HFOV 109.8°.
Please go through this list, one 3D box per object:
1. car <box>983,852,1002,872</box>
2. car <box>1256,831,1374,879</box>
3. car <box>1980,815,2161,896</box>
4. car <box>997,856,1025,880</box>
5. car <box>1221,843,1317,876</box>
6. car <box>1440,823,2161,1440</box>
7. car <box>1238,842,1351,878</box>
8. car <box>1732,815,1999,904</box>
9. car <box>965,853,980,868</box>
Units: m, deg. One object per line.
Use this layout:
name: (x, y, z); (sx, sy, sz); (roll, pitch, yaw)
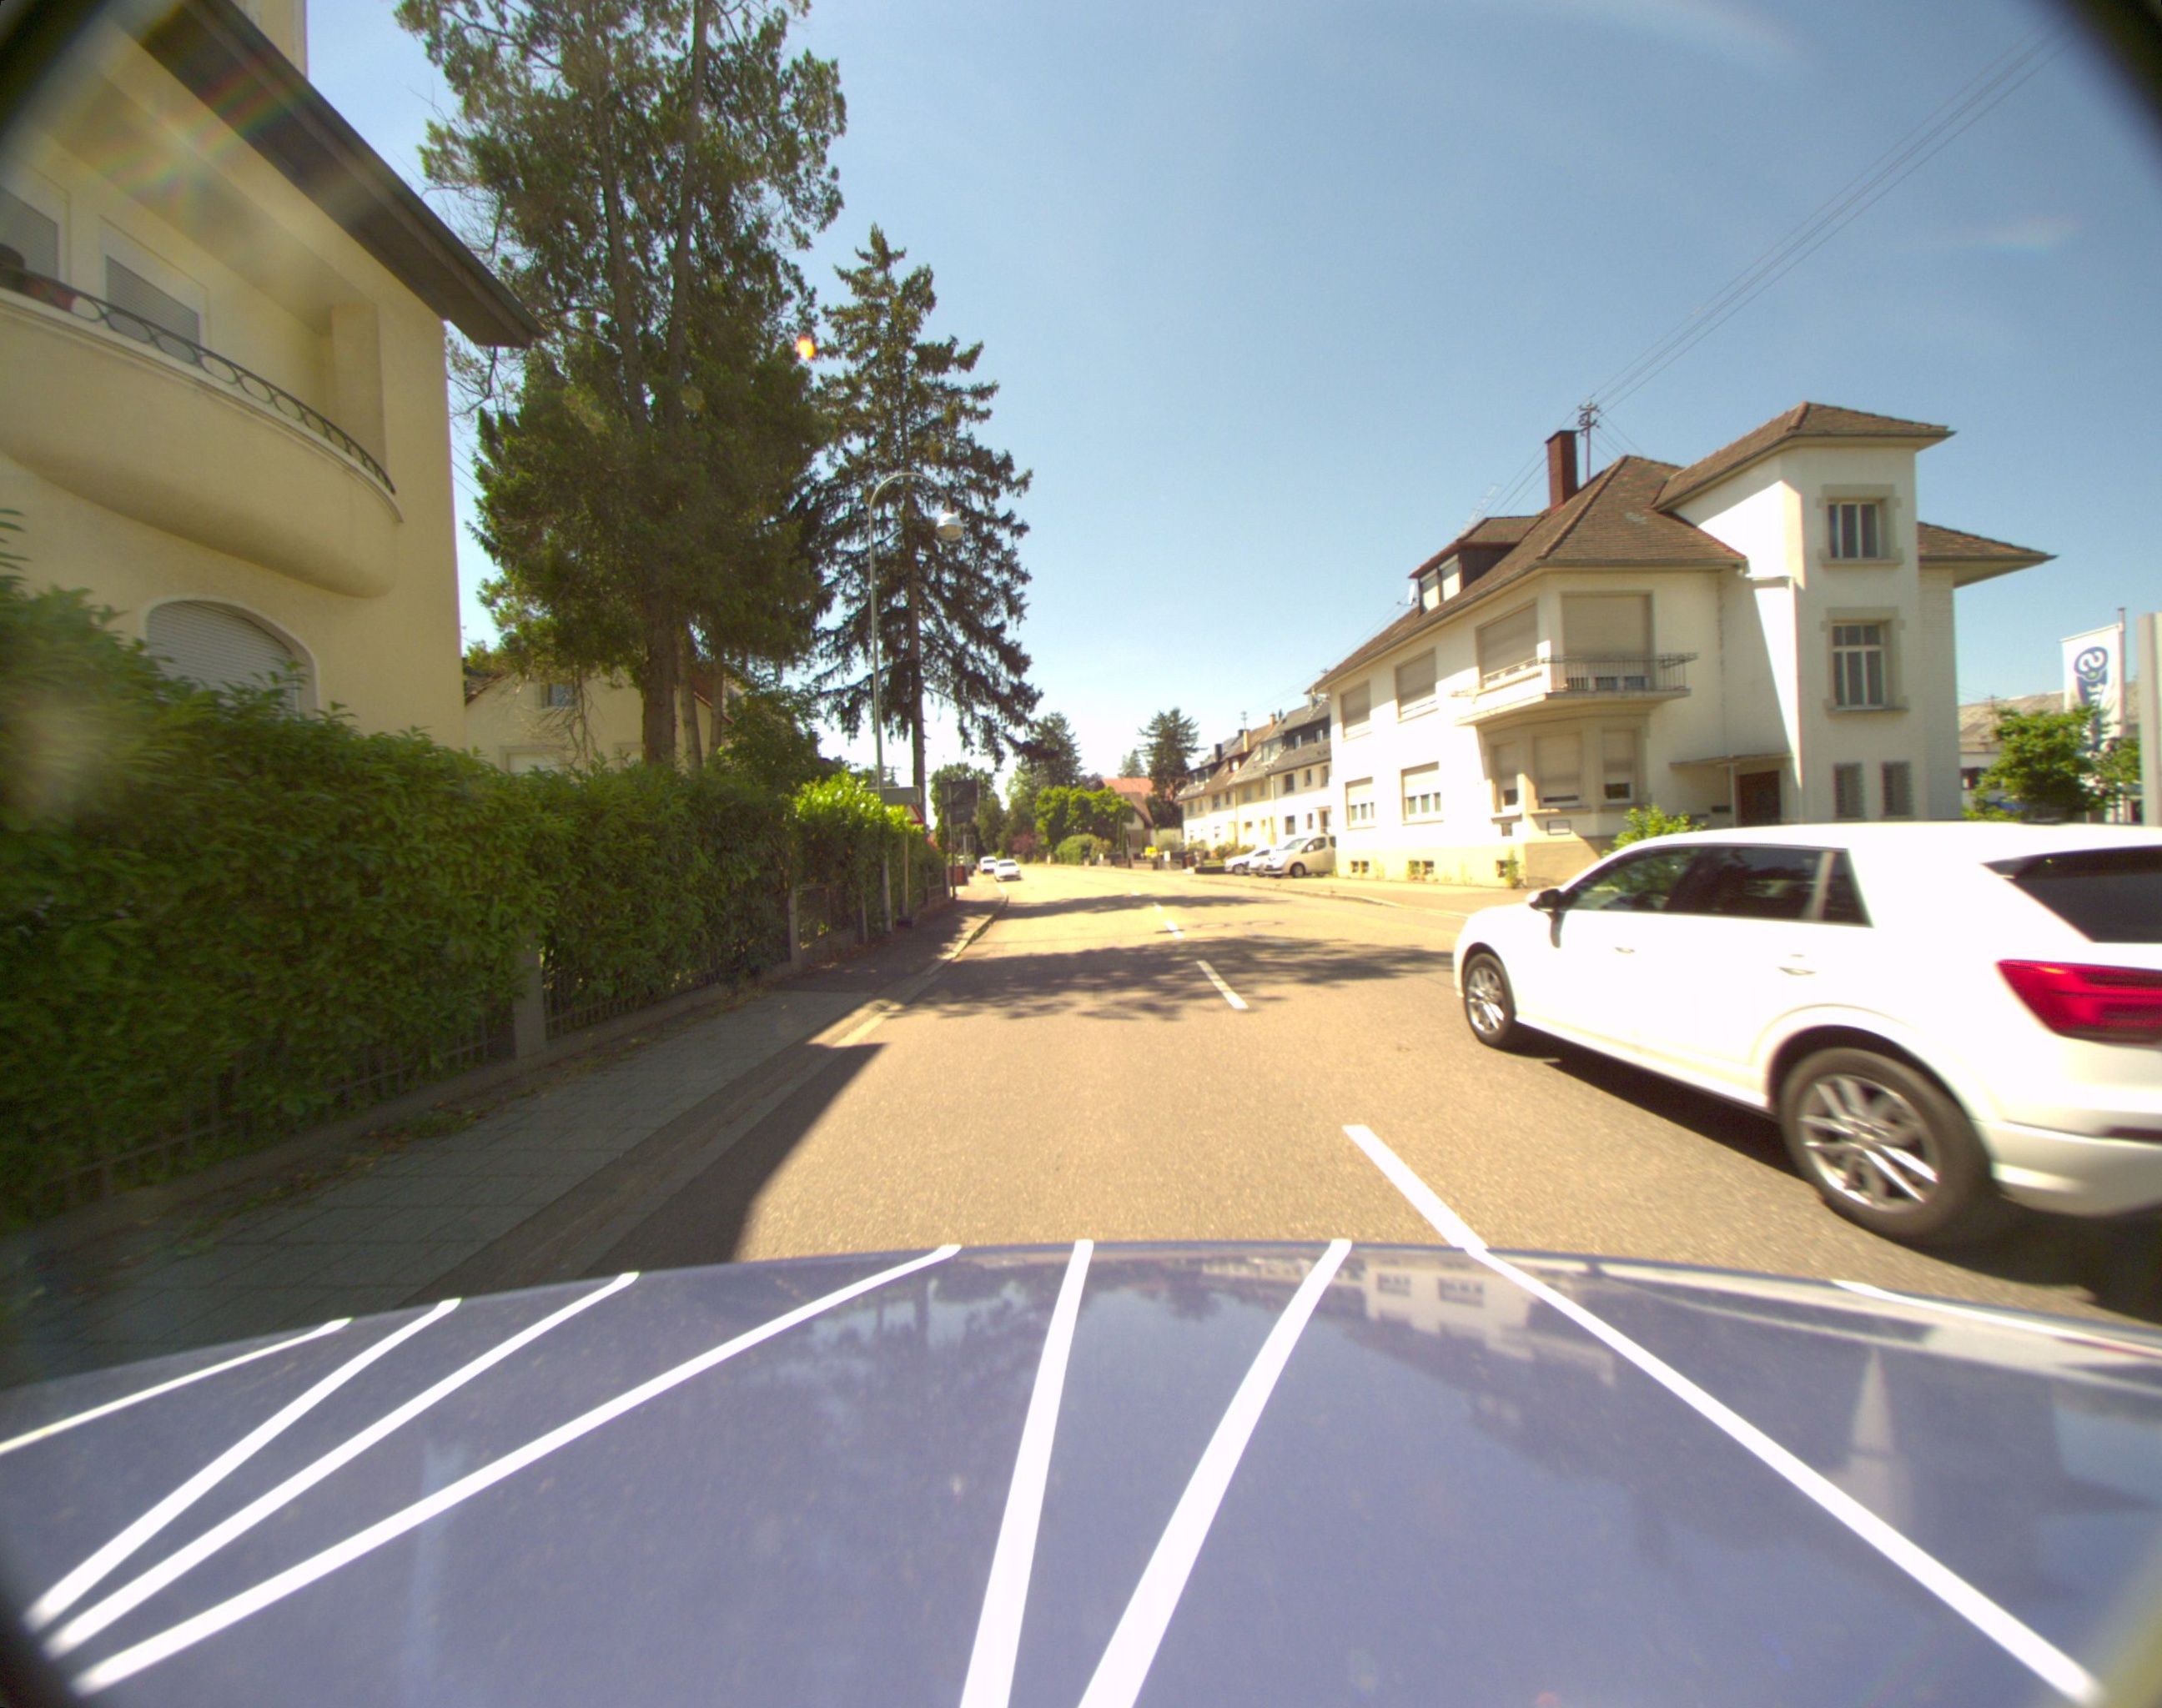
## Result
car: (-9.069, 0.773, 77.942); (1.689, 1.770, 3.936); (-4, 3, -6)
car: (9.839, 0.031, 32.035); (4.367, 1.866, 1.848); (-1, 0, -13)
car: (21.991, 0.007, 16.570); (3.936, 1.530, 1.563); (-3, 0, -16)
car: (-4.916, 0.958, 53.123); (1.689, 1.446, 3.737); (-4, 0, -8)
car: (9.269, 0.273, 37.537); (4.264, 1.486, 1.880); (-1, 0, 26)
car: (3.656, 0.659, 3.755); (1.825, 1.521, 3.948); (-3, 2, -1)
car: (9.634, 0.278, 34.476); (4.484, 1.486, 1.975); (-1, 0, -4)
car: (16.120, 0.135, 15.724); (3.932, 1.530, 1.565); (-3, -2, -3)
car: (-14.612, 0.862, 102.096); (1.690, 1.769, 3.936); (-5, 1, -11)
